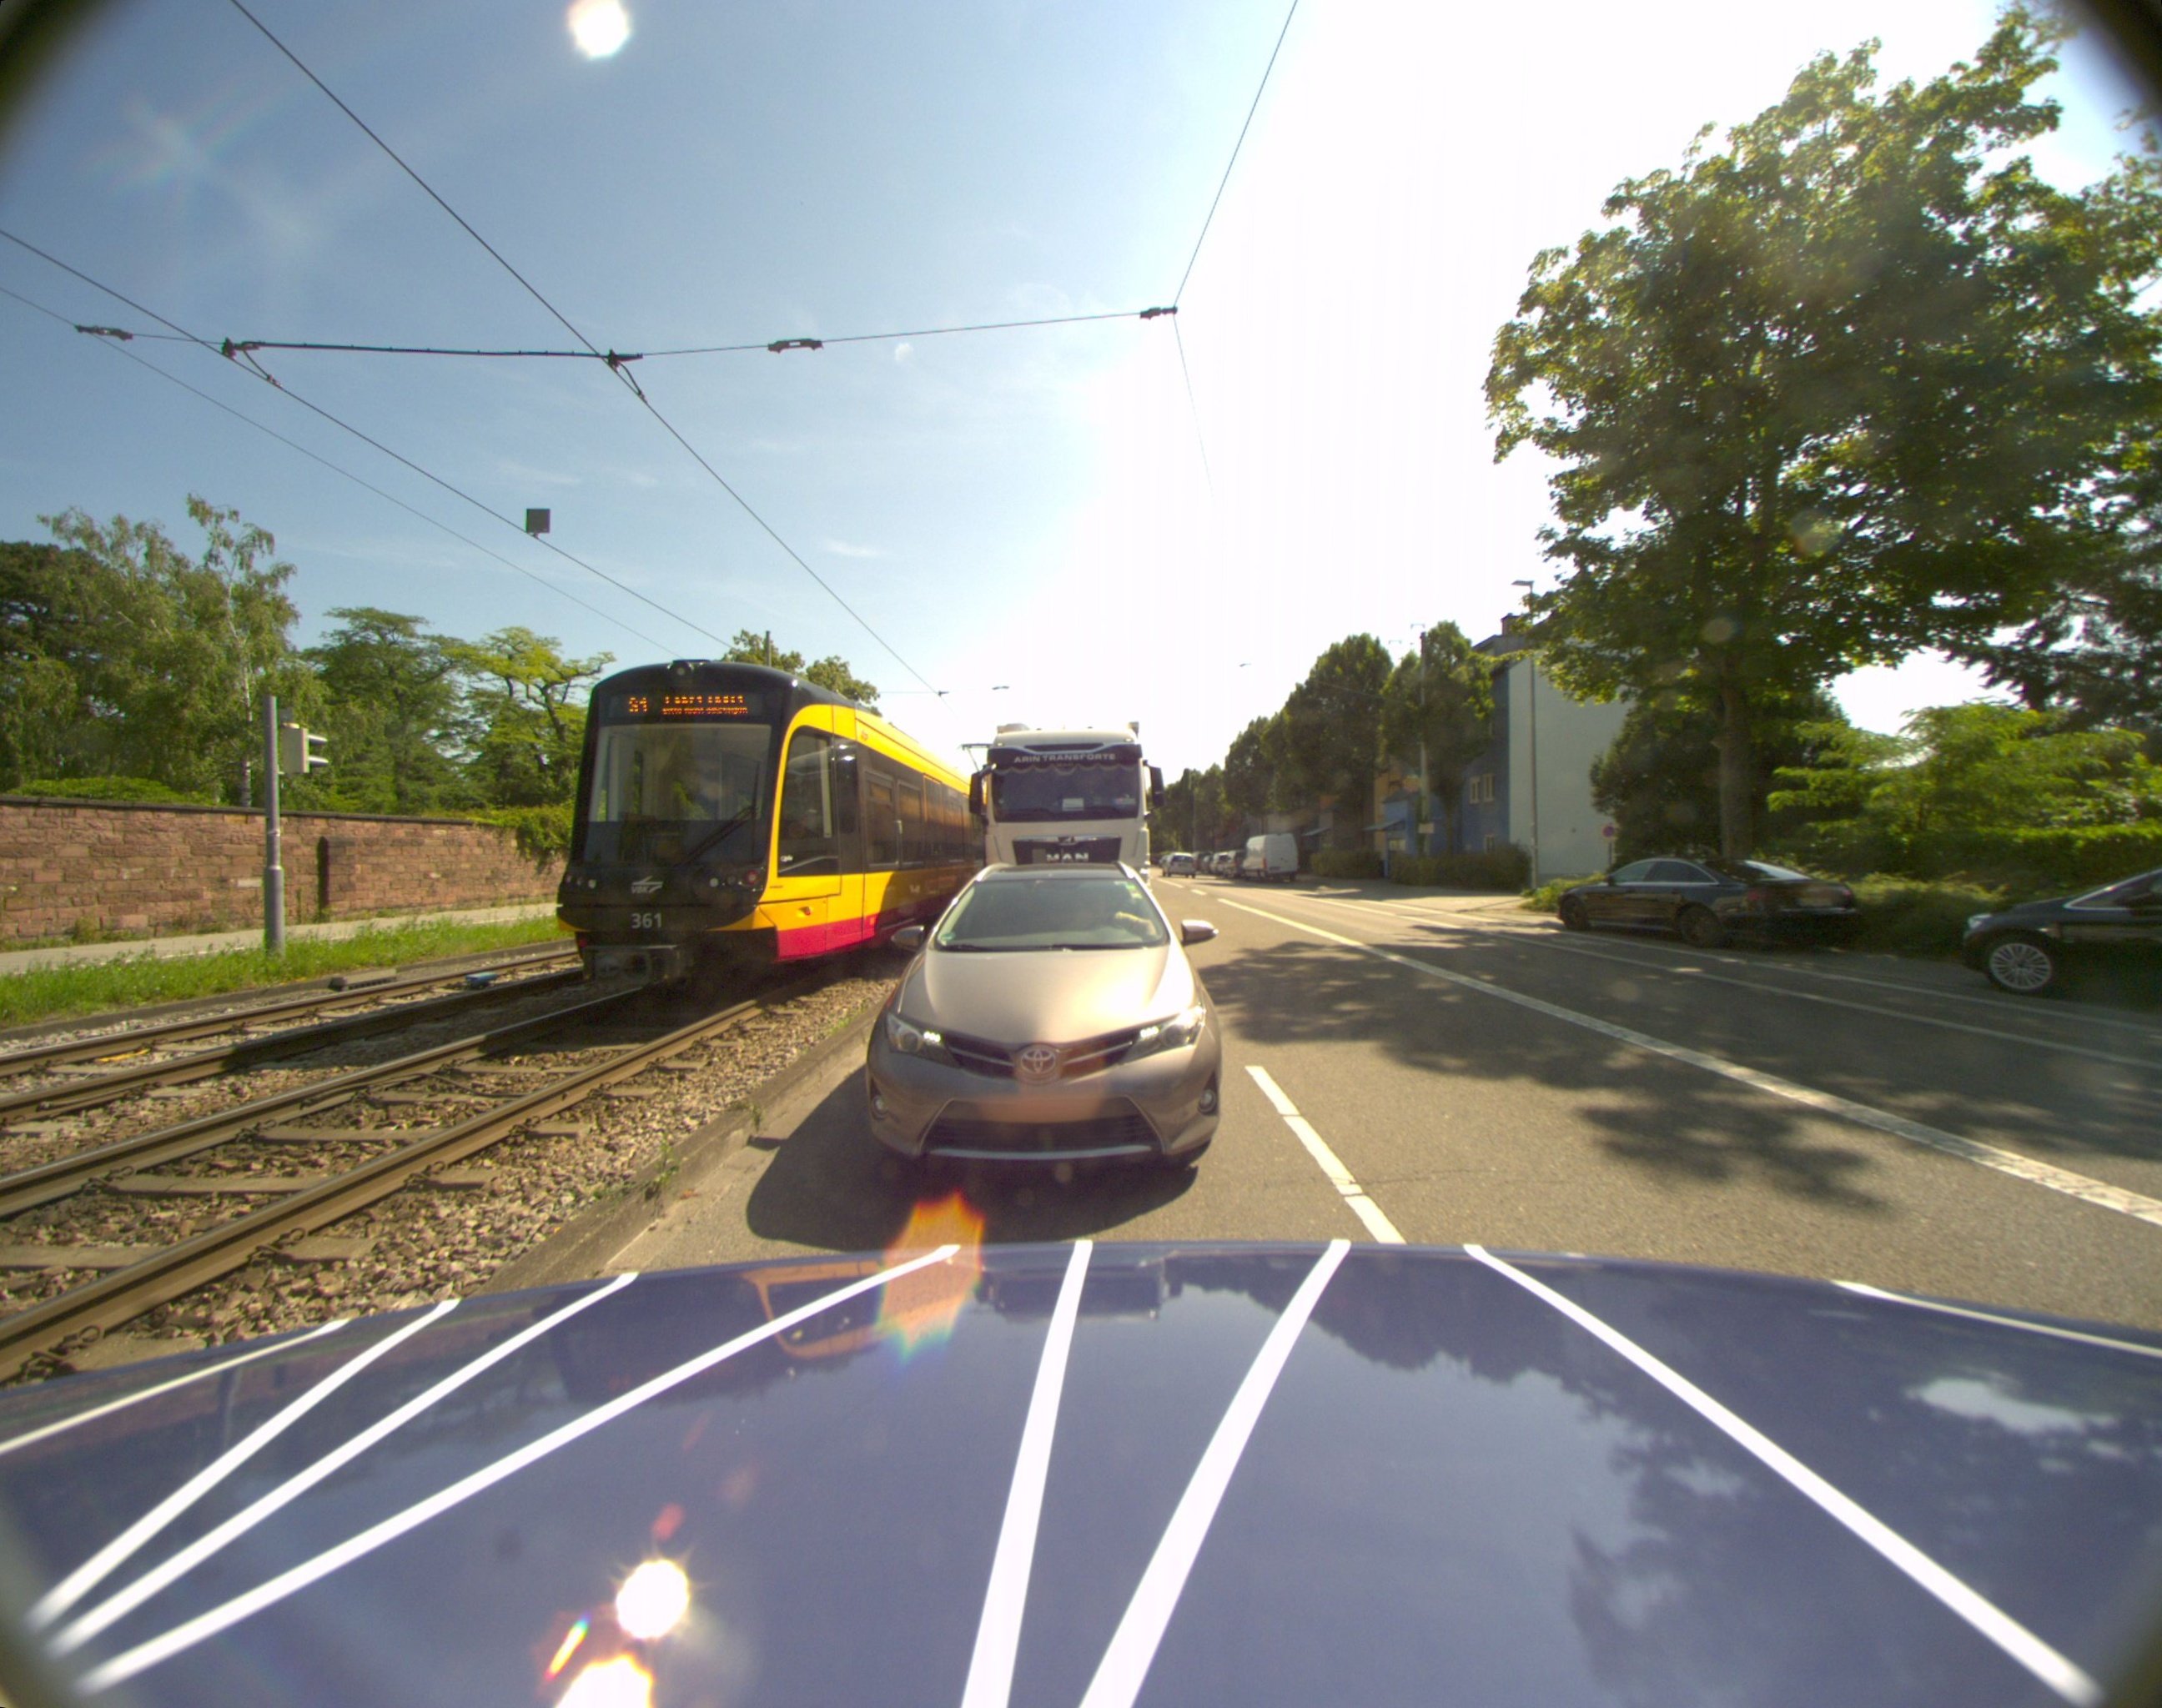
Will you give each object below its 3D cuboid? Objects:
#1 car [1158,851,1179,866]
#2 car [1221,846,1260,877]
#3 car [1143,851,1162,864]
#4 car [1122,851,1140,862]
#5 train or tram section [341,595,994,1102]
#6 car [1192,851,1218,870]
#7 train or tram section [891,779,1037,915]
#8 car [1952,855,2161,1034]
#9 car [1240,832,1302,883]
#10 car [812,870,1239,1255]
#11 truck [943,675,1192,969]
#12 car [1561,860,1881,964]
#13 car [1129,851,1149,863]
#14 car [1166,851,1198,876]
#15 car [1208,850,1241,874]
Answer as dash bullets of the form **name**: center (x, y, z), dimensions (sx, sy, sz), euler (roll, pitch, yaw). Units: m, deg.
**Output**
- **car**: center (10.004, 0.505, 86.722), dimensions (1.679, 1.493, 3.765), euler (-4, 0, -3)
- **car**: center (10.963, 0.467, 52.385), dimensions (1.679, 1.925, 4.457), euler (-4, 0, 1)
- **car**: center (9.149, 0.442, 97.525), dimensions (1.679, 1.493, 3.765), euler (-4, 0, -5)
- **car**: center (7.283, 0.363, 110.425), dimensions (1.680, 1.493, 3.762), euler (-2, 1, -10)
- **train or tram section**: center (-3.911, -0.121, 13.248), dimensions (2.676, 3.631, 15.304), euler (-2, 1, 1)
- **car**: center (11.099, 0.549, 68.155), dimensions (1.679, 1.493, 3.766), euler (-4, 0, 1)
- **train or tram section**: center (-3.753, -0.317, 30.346), dimensions (2.679, 3.631, 18.955), euler (-2, 1, 0)
- **car**: center (10.549, 0.816, 6.327), dimensions (1.679, 1.603, 4.242), euler (0, 0, -1)
- **car**: center (10.913, 0.191, 44.055), dimensions (2.016, 2.636, 6.086), euler (-4, 0, 1)
- **car**: center (-0.207, 0.910, 5.155), dimensions (1.719, 1.439, 4.030), euler (-2, 0, 1)
- **truck**: center (-0.102, -0.486, 17.843), dimensions (3.391, 4.046, 14.286), euler (-2, 0, 1)
- **car**: center (10.552, 0.847, 13.073), dimensions (1.679, 1.427, 4.457), euler (0, 0, -1)
- **car**: center (8.048, 0.407, 105.662), dimensions (1.680, 1.493, 3.763), euler (-4, 0, -10)
- **car**: center (6.563, 0.593, 49.710), dimensions (1.846, 1.587, 4.001), euler (0, 0, 4)
- **car**: center (10.896, 0.544, 58.032), dimensions (1.679, 1.659, 4.148), euler (-4, 0, 1)
